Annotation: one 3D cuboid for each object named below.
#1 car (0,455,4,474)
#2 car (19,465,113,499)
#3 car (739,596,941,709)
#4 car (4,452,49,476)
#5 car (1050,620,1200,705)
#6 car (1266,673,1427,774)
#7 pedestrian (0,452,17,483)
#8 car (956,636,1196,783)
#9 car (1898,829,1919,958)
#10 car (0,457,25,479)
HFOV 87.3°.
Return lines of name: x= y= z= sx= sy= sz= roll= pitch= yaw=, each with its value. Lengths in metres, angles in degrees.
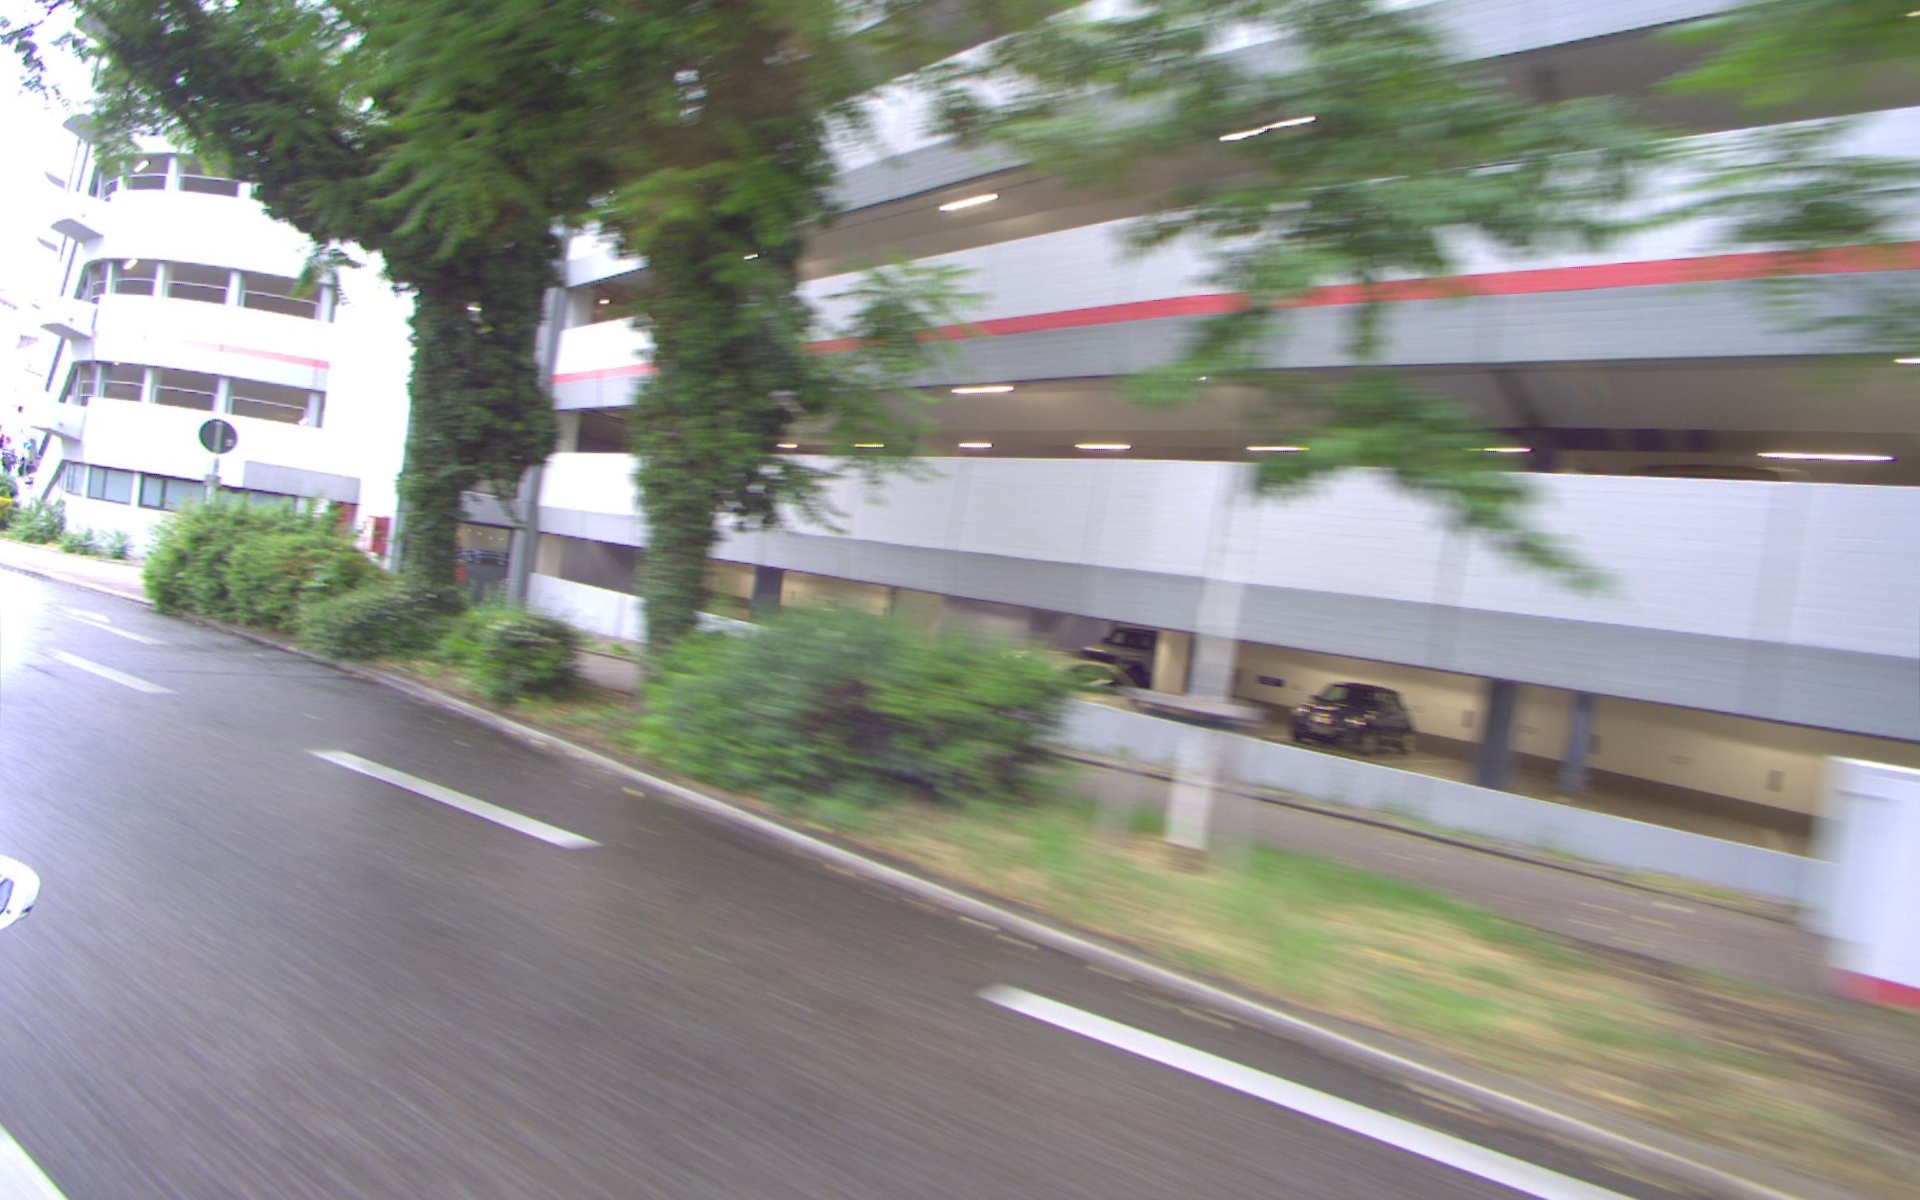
car: x=-86.723 y=-12.218 z=88.817 sx=1.974 sy=1.727 sz=3.975 roll=7 pitch=1 yaw=-24
car: x=-57.100 y=-7.530 z=64.326 sx=1.831 sy=1.458 sz=4.180 roll=8 pitch=1 yaw=38
car: x=-2.310 y=1.071 z=19.836 sx=1.792 sy=1.804 sz=3.448 roll=7 pitch=0 yaw=44
car: x=-91.384 y=-13.319 z=98.531 sx=1.974 sy=1.727 sz=3.975 roll=7 pitch=1 yaw=-24
car: x=4.395 y=1.669 z=26.400 sx=1.792 sy=1.804 sz=3.979 roll=7 pitch=0 yaw=44
car: x=8.604 y=2.717 z=22.228 sx=1.792 sy=1.804 sz=3.979 roll=7 pitch=0 yaw=44
pedestrian: x=-69.946 y=-9.735 z=73.711 sx=0.931 sy=2.156 sz=0.856 roll=8 pitch=2 yaw=26
car: x=1.851 y=1.672 z=15.481 sx=1.792 sy=1.804 sz=3.448 roll=7 pitch=0 yaw=44
car: x=9.905 y=2.819 z=8.845 sx=1.782 sy=1.559 sz=3.734 roll=11 pitch=1 yaw=37
car: x=-88.890 y=-12.315 z=93.220 sx=1.974 sy=1.727 sz=3.975 roll=7 pitch=1 yaw=-24
